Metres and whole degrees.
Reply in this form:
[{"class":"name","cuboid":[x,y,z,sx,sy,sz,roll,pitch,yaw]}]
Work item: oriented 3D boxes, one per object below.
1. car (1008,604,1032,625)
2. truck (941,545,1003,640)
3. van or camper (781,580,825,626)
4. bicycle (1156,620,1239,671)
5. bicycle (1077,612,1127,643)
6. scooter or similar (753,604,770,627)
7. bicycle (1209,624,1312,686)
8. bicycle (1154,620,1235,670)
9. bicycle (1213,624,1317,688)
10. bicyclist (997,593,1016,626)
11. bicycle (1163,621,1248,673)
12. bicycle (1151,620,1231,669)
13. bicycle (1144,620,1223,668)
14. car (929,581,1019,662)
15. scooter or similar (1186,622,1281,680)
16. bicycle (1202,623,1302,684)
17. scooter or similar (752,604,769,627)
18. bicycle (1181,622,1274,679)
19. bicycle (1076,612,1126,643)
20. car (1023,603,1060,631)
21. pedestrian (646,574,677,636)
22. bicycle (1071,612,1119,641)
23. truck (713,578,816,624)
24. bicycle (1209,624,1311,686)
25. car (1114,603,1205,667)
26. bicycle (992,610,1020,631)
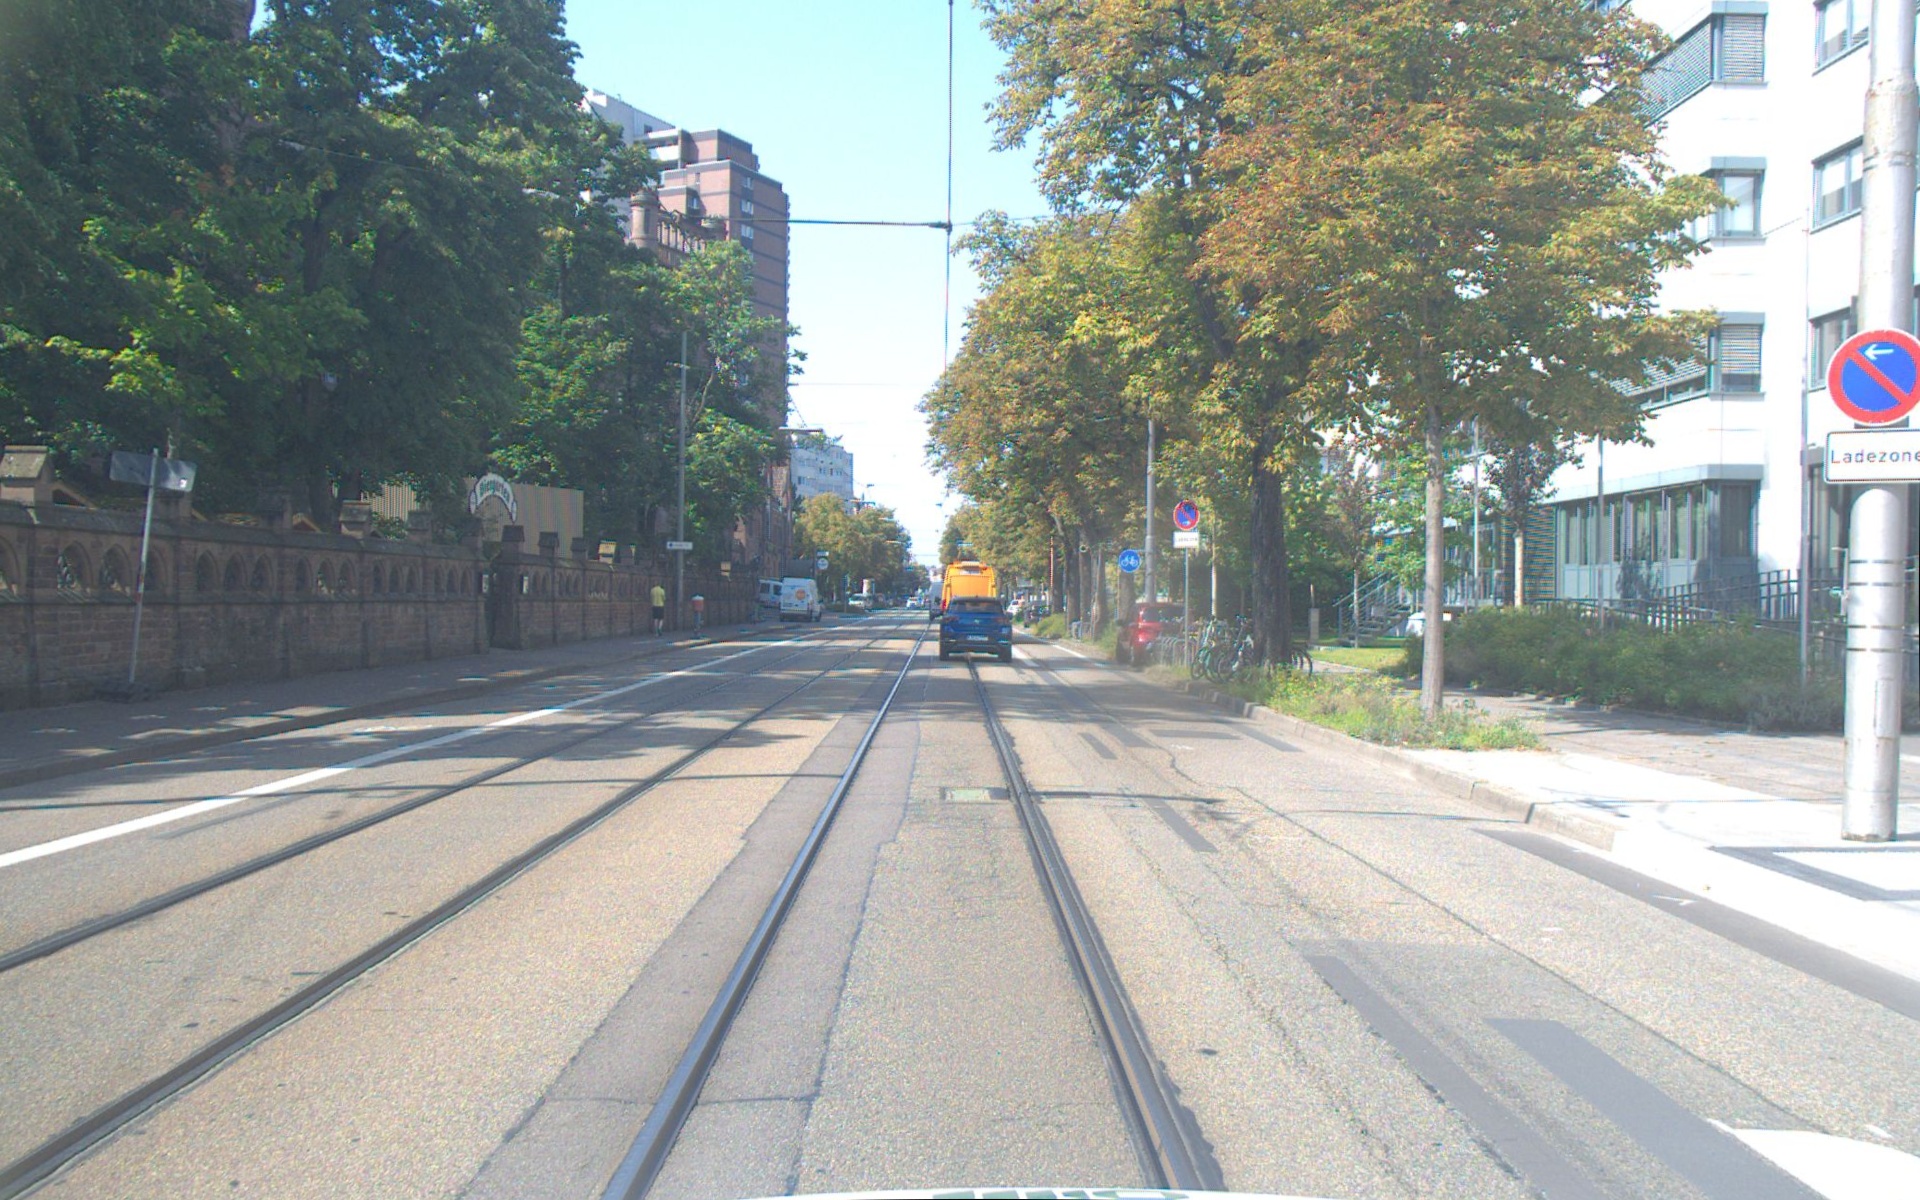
[{"class":"car","cuboid":[4.467,1.088,123.934,1.625,1.507,4.216,0,-1,0]},{"class":"truck","cuboid":[0.392,-0.237,58.600,2.092,3.179,6.084,0,0,0]},{"class":"van or camper","cuboid":[-9.659,0.169,102.184,2.069,2.722,5.955,1,0,1]},{"class":"bicycle","cuboid":[5.201,1.002,36.245,1.735,1.090,0.540,0,0,-2]},{"class":"bicycle","cuboid":[5.039,0.983,58.767,1.735,1.068,0.540,0,0,-2]},{"class":"scooter or similar","cuboid":[-10.507,0.799,87.476,0.332,1.199,1.177,1,0,24]},{"class":"bicycle","cuboid":[5.399,0.978,29.765,1.735,1.090,0.540,0,0,-2]},{"class":"bicycle","cuboid":[5.244,1.006,37.057,1.735,1.090,0.540,0,0,-2]},{"class":"bicycle","cuboid":[5.348,0.974,29.046,1.735,1.090,0.540,0,0,-2]},{"class":"bicyclist","cuboid":[2.589,0.540,92.193,1.010,1.844,1.016,1,0,-1]},{"class":"bicycle","cuboid":[5.210,0.997,35.143,1.735,1.090,0.540,0,0,-2]},{"class":"bicycle","cuboid":[5.264,1.009,37.731,1.735,1.090,0.540,0,0,-2]},{"class":"bicycle","cuboid":[5.198,1.011,38.505,1.735,1.090,0.540,0,0,-2]},{"class":"car","cuboid":[0.317,0.524,41.484,2.092,1.891,5.567,0,0,0]},{"class":"scooter or similar","cuboid":[5.281,0.985,31.974,1.735,1.090,0.540,0,0,-2]},{"class":"bicycle","cuboid":[5.352,0.980,30.342,1.735,1.090,0.540,0,0,-2]},{"class":"scooter or similar","cuboid":[-10.410,0.796,86.305,0.332,1.199,1.177,1,0,24]},{"class":"bicycle","cuboid":[5.256,0.987,32.561,1.735,1.090,0.540,0,0,-2]},{"class":"bicycle","cuboid":[5.076,0.986,59.446,1.735,1.068,0.540,0,0,-2]},{"class":"car","cuboid":[4.551,0.942,93.056,1.720,1.542,4.607,0,0,-2]},{"class":"pedestrian","cuboid":[-9.868,0.167,54.760,0.846,2.049,0.983,1,-1,-3]},{"class":"bicycle","cuboid":[5.037,0.996,61.925,1.735,1.068,0.540,0,0,-2]},{"class":"truck","cuboid":[-12.617,0.045,106.998,6.189,2.582,2.132,4,1,4]},{"class":"bicycle","cuboid":[5.388,0.978,29.742,1.735,1.090,0.540,0,0,-2]},{"class":"car","cuboid":[4.900,0.828,41.197,1.720,1.487,4.274,0,0,-1]},{"class":"bicycle","cuboid":[2.546,1.124,92.200,1.373,1.154,3.999,1,0,-1]}]
